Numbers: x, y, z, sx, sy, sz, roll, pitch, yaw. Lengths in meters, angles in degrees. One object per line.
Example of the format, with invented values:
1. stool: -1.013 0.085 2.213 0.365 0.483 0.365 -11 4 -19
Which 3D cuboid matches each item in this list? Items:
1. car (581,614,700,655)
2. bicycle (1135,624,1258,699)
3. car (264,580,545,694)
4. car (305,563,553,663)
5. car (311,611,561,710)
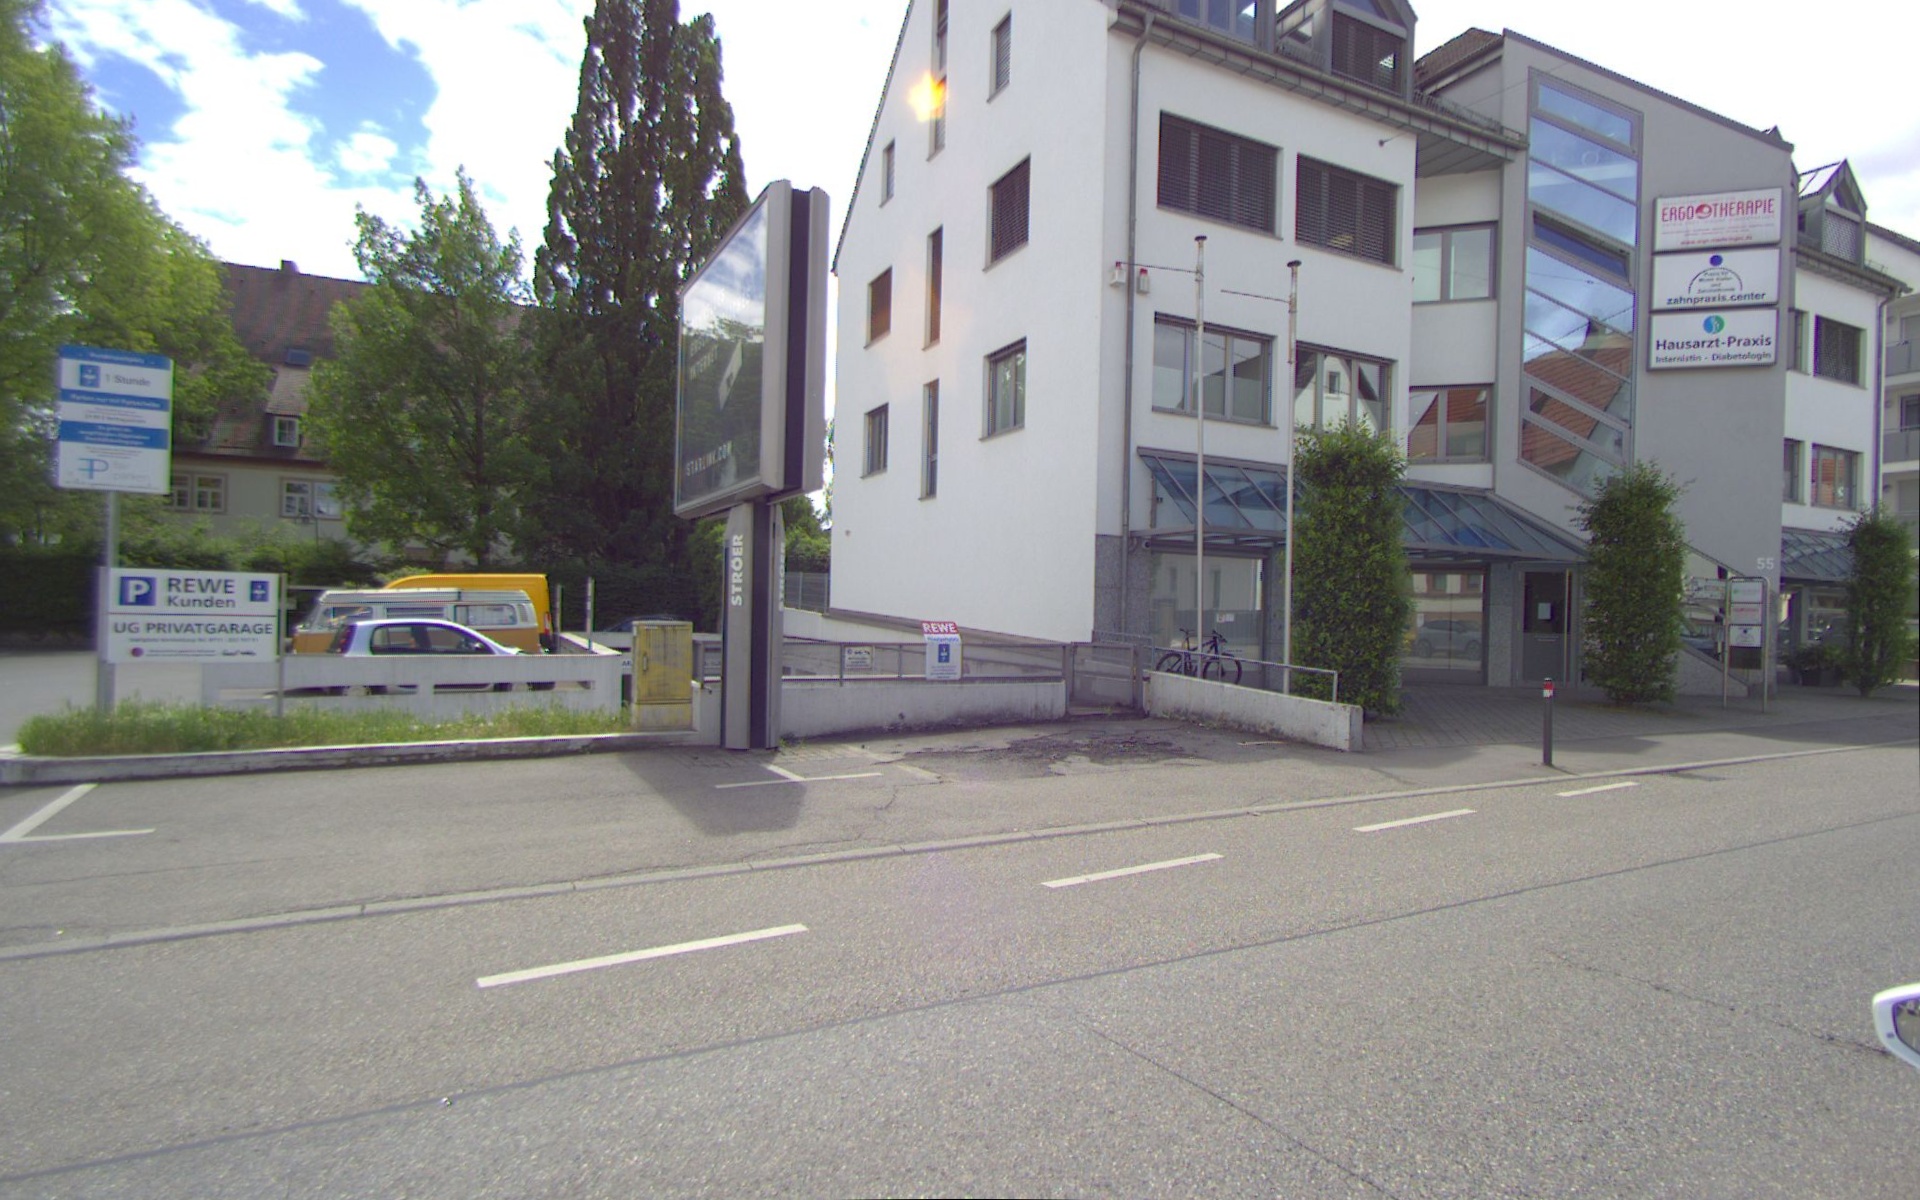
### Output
1. car: -10.766 1.145 33.826 3.614 1.302 1.706 1 -1 -26
2. bicycle: 3.709 0.939 15.694 1.979 1.110 0.627 1 -1 -30
3. car: -10.727 0.702 19.735 4.590 2.016 1.831 1 -1 -28
4. car: -14.672 0.430 28.117 5.903 2.563 2.053 1 -2 -29
5. car: -9.129 0.998 17.568 3.718 1.549 1.801 1 -1 -34
